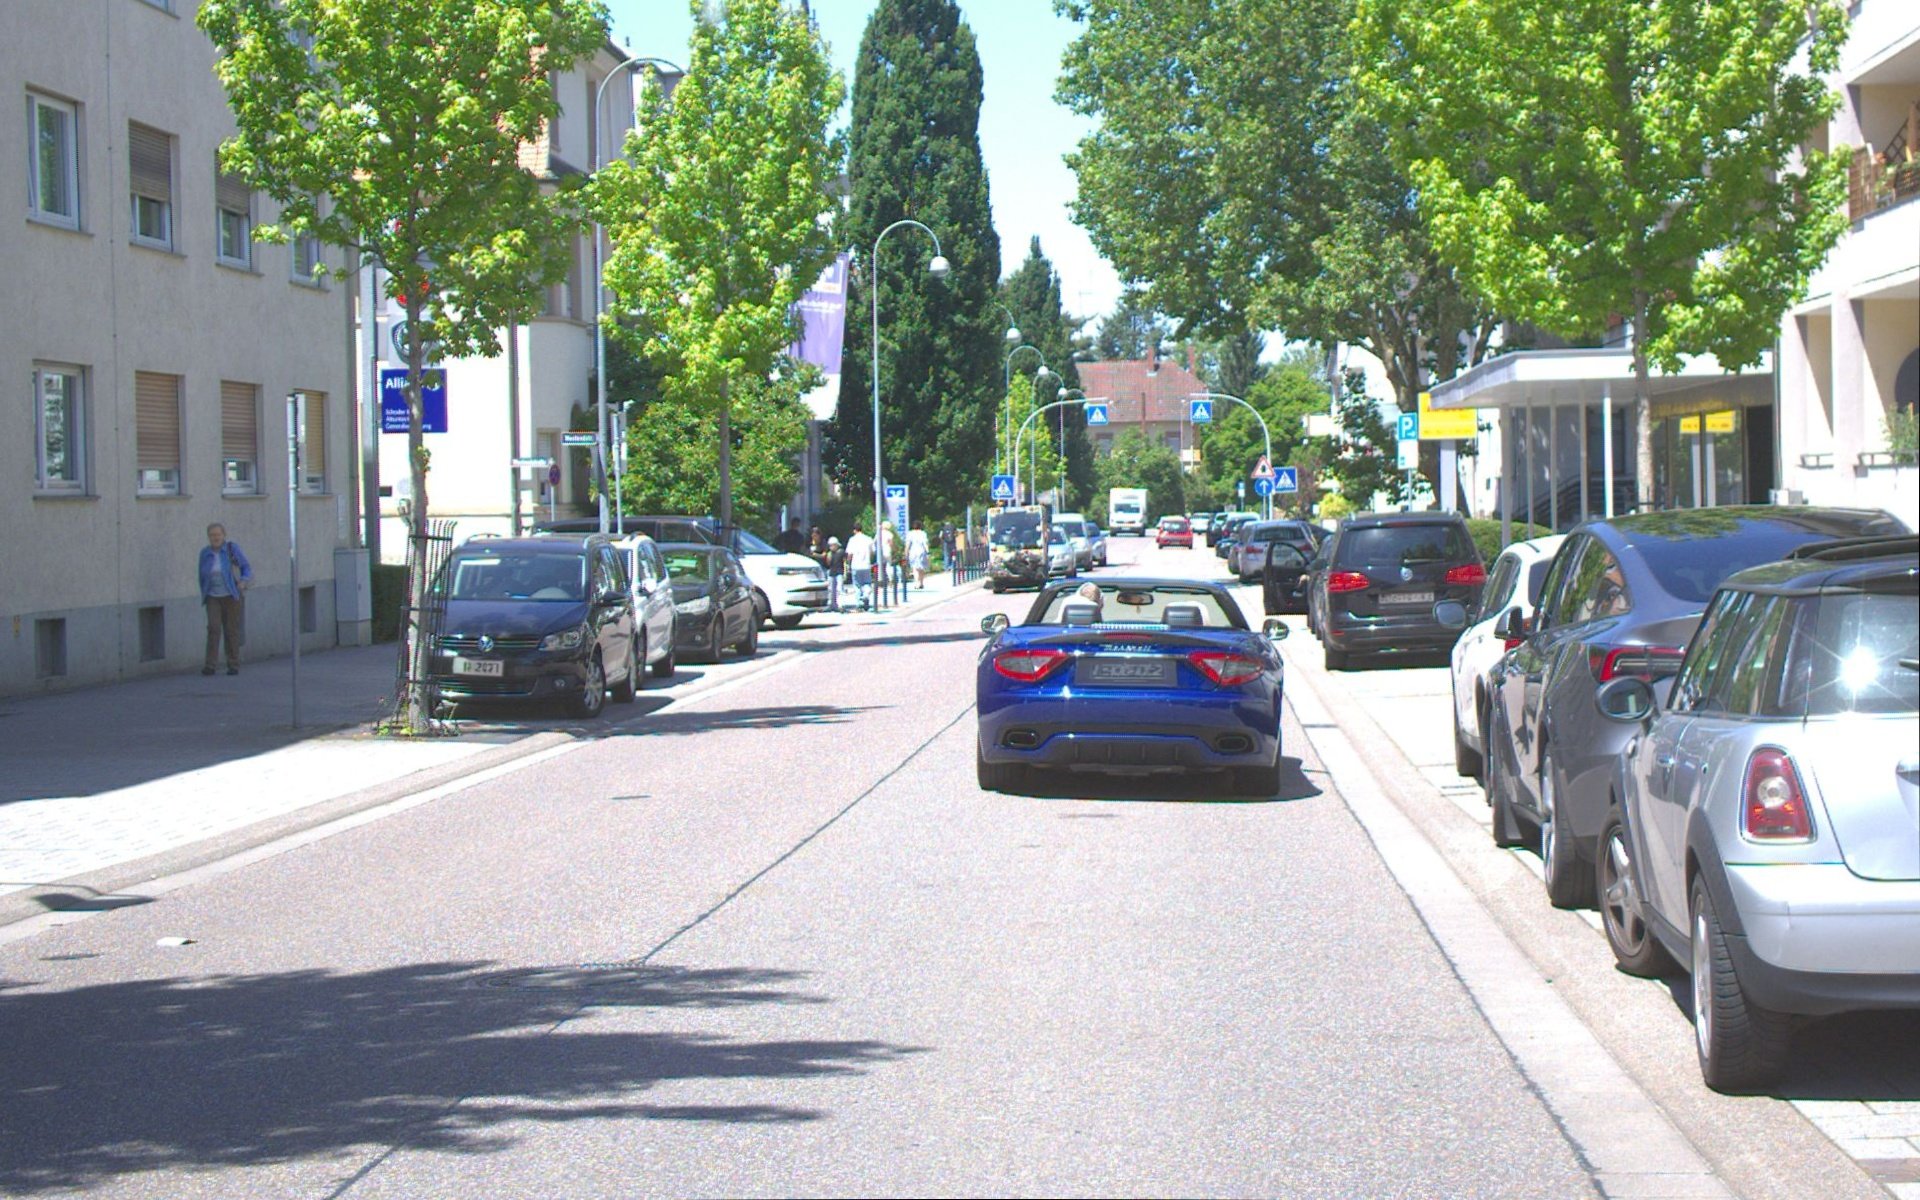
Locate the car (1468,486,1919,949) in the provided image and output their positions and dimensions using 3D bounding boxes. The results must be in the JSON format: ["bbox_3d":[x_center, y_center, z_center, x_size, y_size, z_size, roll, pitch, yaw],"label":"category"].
[{"bbox_3d":[3.366,0.379,15.360,1.764,1.700,4.705,-2,1,4],"label":"car"}]

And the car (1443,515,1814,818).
[{"bbox_3d":[3.911,0.313,20.718,1.722,1.578,4.224,-2,1,5],"label":"car"}]

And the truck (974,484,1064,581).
[{"bbox_3d":[1.415,-1.617,80.920,1.805,2.110,4.715,-2,2,4],"label":"truck"}]

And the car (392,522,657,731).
[{"bbox_3d":[-4.020,0.182,32.386,1.729,1.734,4.392,2,2,2],"label":"car"}]

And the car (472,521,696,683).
[{"bbox_3d":[-4.092,-0.034,38.057,1.824,1.614,4.393,0,2,2],"label":"car"}]

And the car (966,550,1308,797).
[{"bbox_3d":[1.158,0.396,22.489,1.976,1.393,4.627,1,1,3],"label":"car"}]

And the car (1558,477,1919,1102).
[{"bbox_3d":[2.867,0.412,10.478,1.622,1.553,3.840,-2,1,4],"label":"car"}]

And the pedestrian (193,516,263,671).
[{"bbox_3d":[-8.258,-0.079,38.761,0.655,1.674,0.632,-3,4,-13],"label":"pedestrian"}]

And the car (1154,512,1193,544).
[{"bbox_3d":[10.078,-3.380,162.394,1.770,1.471,4.137,-1,1,3],"label":"car"}]

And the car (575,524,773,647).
[{"bbox_3d":[-3.628,-0.226,44.241,1.754,1.469,4.321,1,2,6],"label":"car"}]

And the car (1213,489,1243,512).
[{"bbox_3d":[18.711,-6.933,239.818,1.951,1.471,4.137,-2,2,5],"label":"car"}]

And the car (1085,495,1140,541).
[{"bbox_3d":[5.258,-2.831,118.129,1.770,1.471,4.137,-2,2,3],"label":"car"}]

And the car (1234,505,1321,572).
[{"bbox_3d":[7.856,-1.558,85.428,1.976,1.445,4.349,-3,2,4],"label":"car"}]

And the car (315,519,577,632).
[{"bbox_3d":[-8.557,-0.427,57.414,4.060,1.816,1.760,0,2,2],"label":"car"}]

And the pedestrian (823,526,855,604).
[{"bbox_3d":[-2.297,-0.666,65.222,0.579,1.469,0.564,-1,1,-2],"label":"pedestrian"}]

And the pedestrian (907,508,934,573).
[{"bbox_3d":[-0.966,-1.455,84.341,0.587,1.569,0.781,-1,1,3],"label":"pedestrian"}]

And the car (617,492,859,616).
[{"bbox_3d":[-3.762,-0.740,57.346,1.907,1.916,4.905,-3,2,-31],"label":"car"}]

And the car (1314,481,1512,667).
[{"bbox_3d":[5.038,-0.354,38.741,1.994,1.792,4.569,-2,3,6],"label":"car"}]

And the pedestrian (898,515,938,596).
[{"bbox_3d":[-1.022,-1.098,84.335,0.849,1.909,0.761,-2,4,4],"label":"pedestrian"}]

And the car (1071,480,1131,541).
[{"bbox_3d":[4.379,-2.796,106.842,1.770,1.761,4.138,-2,2,3],"label":"car"}]

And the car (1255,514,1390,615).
[{"bbox_3d":[5.478,-0.564,52.367,1.845,1.409,4.162,-2,1,4],"label":"car"}]
